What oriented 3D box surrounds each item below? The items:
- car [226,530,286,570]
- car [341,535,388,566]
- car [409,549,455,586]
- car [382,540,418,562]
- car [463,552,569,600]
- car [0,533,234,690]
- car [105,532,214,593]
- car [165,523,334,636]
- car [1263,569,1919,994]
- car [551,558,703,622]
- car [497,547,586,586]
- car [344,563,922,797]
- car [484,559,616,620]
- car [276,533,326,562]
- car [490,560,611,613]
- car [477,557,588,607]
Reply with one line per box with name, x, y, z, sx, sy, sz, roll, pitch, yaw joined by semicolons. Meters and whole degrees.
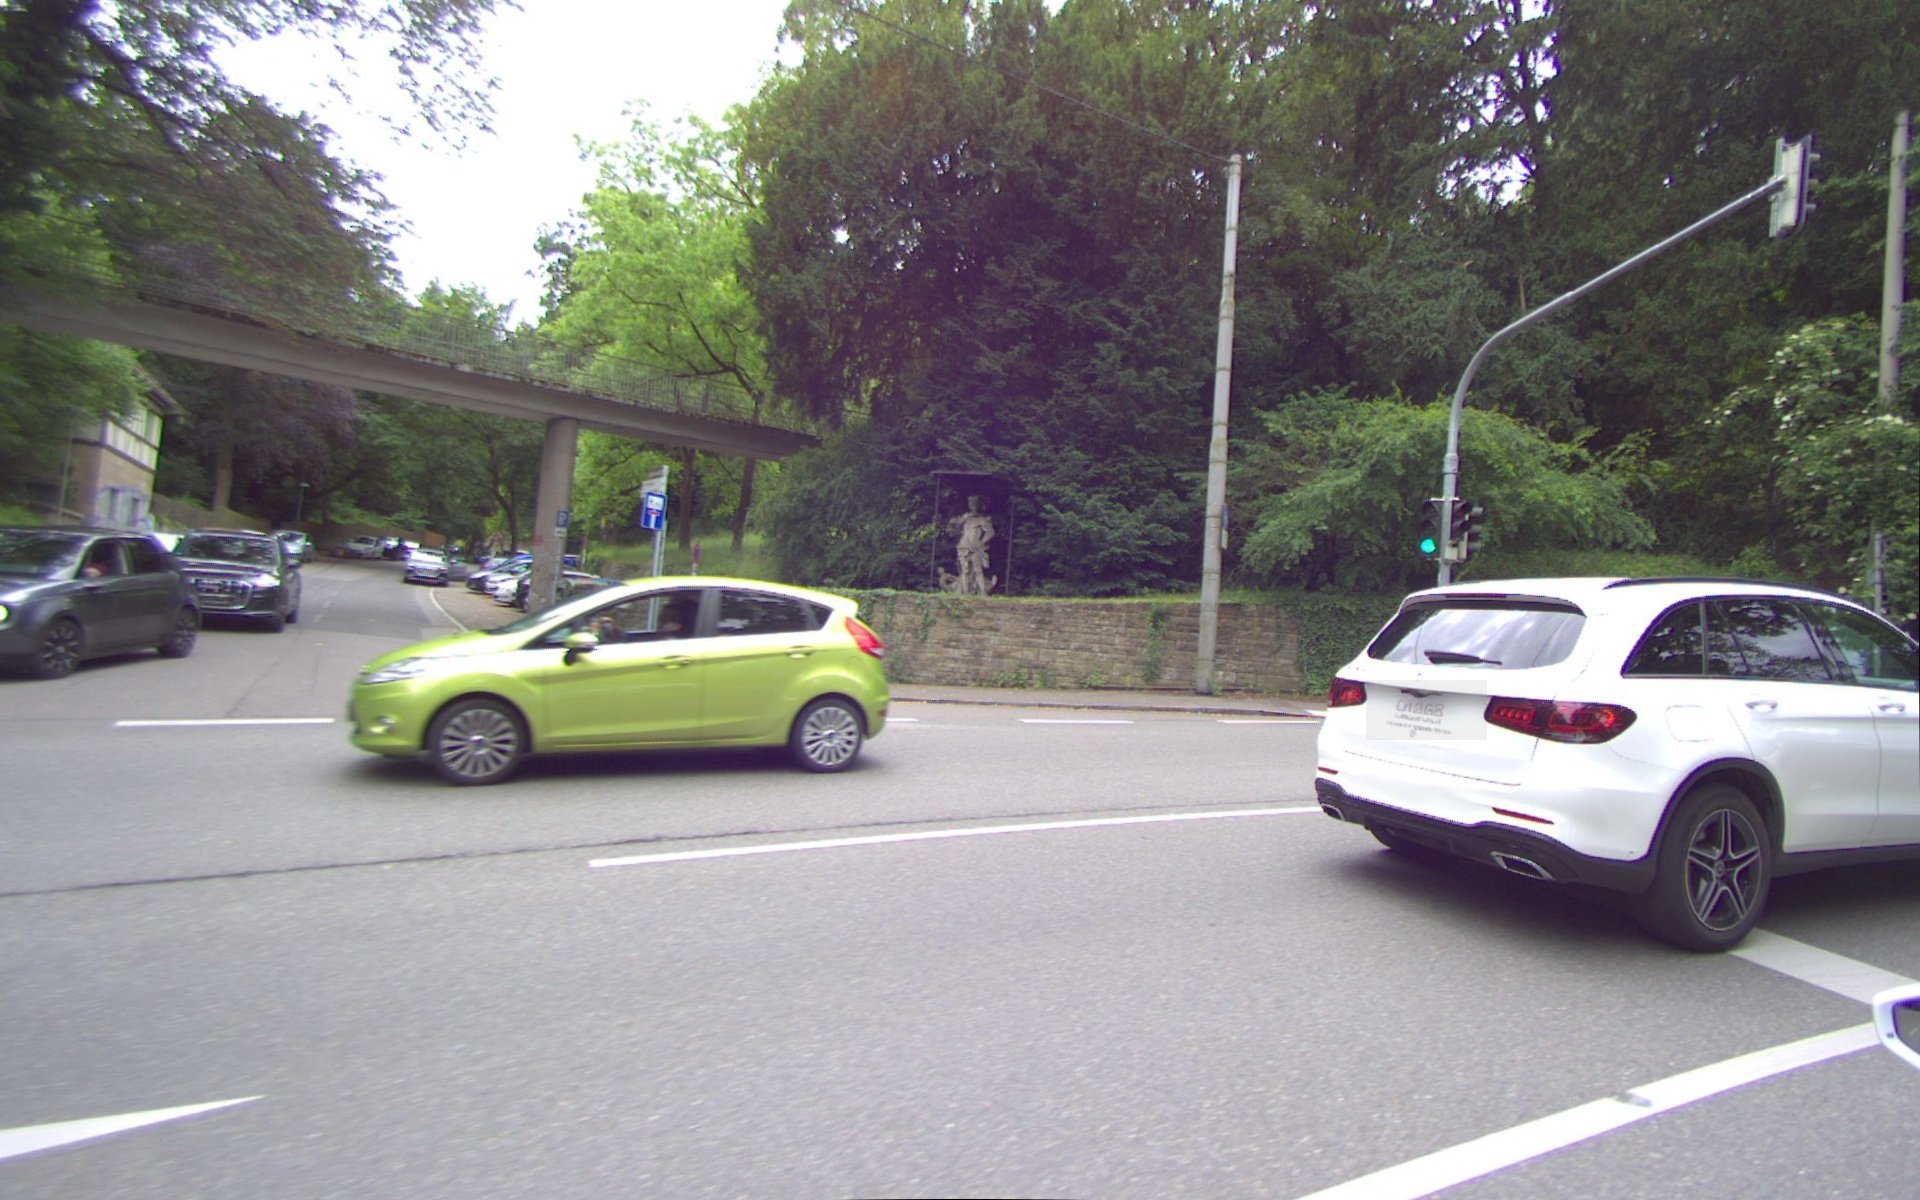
car;-28.743;-2.089;41.093;1.585;1.346;3.879;6;1;-31
car;-38.879;-3.196;65.652;1.971;1.773;3.979;2;1;-22
car;-24.803;-1.547;47.152;1.739;1.451;3.969;6;0;-29
car;-41.283;-3.594;74.113;1.734;1.452;3.979;2;1;-22
car;-19.401;-1.043;43.955;3.956;1.538;1.810;8;-1;-30
car;-9.954;0.012;11.026;1.724;1.376;3.989;4;1;-13
car;-21.160;-1.035;26.700;1.611;1.346;3.989;6;0;-31
car;-12.823;-0.379;18.417;1.785;1.706;4.511;4;0;-27
car;4.172;0.717;5.595;4.604;1.627;1.854;1;2;-23
car;-10.168;-0.275;30.840;3.971;1.572;1.755;5;0;-41
car;-21.750;-1.737;52.231;3.955;1.538;1.810;6;-1;-30
car;-2.383;0.556;7.744;3.850;1.442;1.548;3;1;-27
car;-14.459;-0.358;35.454;3.958;1.607;1.760;8;0;-32
car;-33.099;-2.614;50.501;1.575;1.244;3.615;6;0;-26
car;-15.449;-0.510;37.924;3.955;1.539;1.810;6;1;-30
car;-17.704;-0.747;41.632;3.956;1.538;1.810;8;0;-30
